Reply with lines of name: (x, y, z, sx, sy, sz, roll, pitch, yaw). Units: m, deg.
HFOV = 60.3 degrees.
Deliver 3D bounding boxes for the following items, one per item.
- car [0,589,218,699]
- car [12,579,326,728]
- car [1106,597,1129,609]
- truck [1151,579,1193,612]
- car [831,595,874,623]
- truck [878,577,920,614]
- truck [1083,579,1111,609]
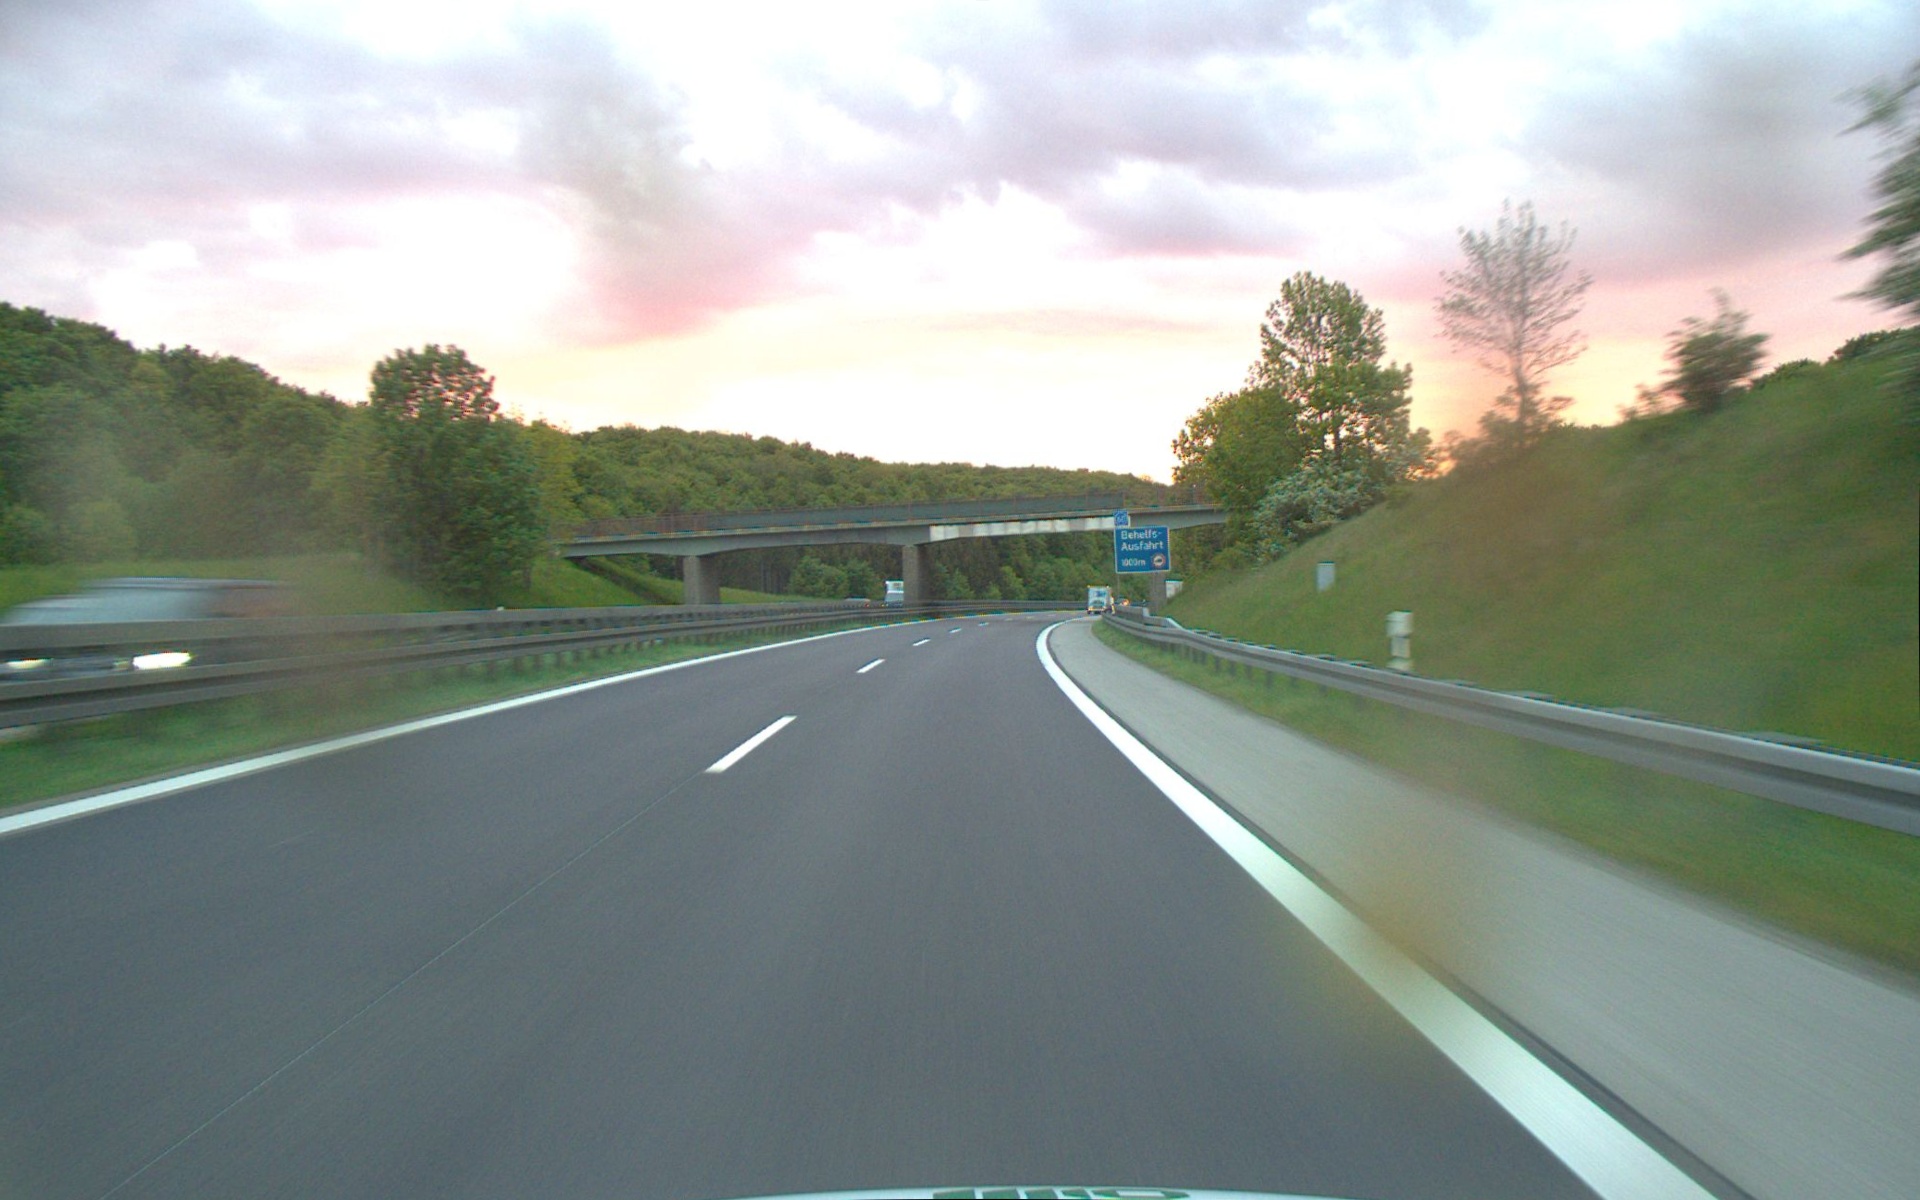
car: (-14.450, 0.664, 27.678, 1.984, 1.688, 4.670, 0, 0, -1)
car: (-11.195, 0.681, 23.926, 2.059, 1.905, 5.131, 0, 0, 0)
car: (19.998, 0.353, 209.646, 1.952, 1.544, 4.000, 0, 0, 21)
truck: (28.851, -0.661, 224.745, 3.874, 4.362, 14.334, -1, 0, 15)
car: (-6.876, 0.581, 106.548, 1.737, 1.744, 4.641, 0, 0, 10)
truck: (-5.374, -0.432, 145.951, 2.556, 3.164, 6.674, 1, 0, 8)
truck: (13.281, -0.632, 160.593, 2.227, 2.711, 5.241, -1, 1, 9)
